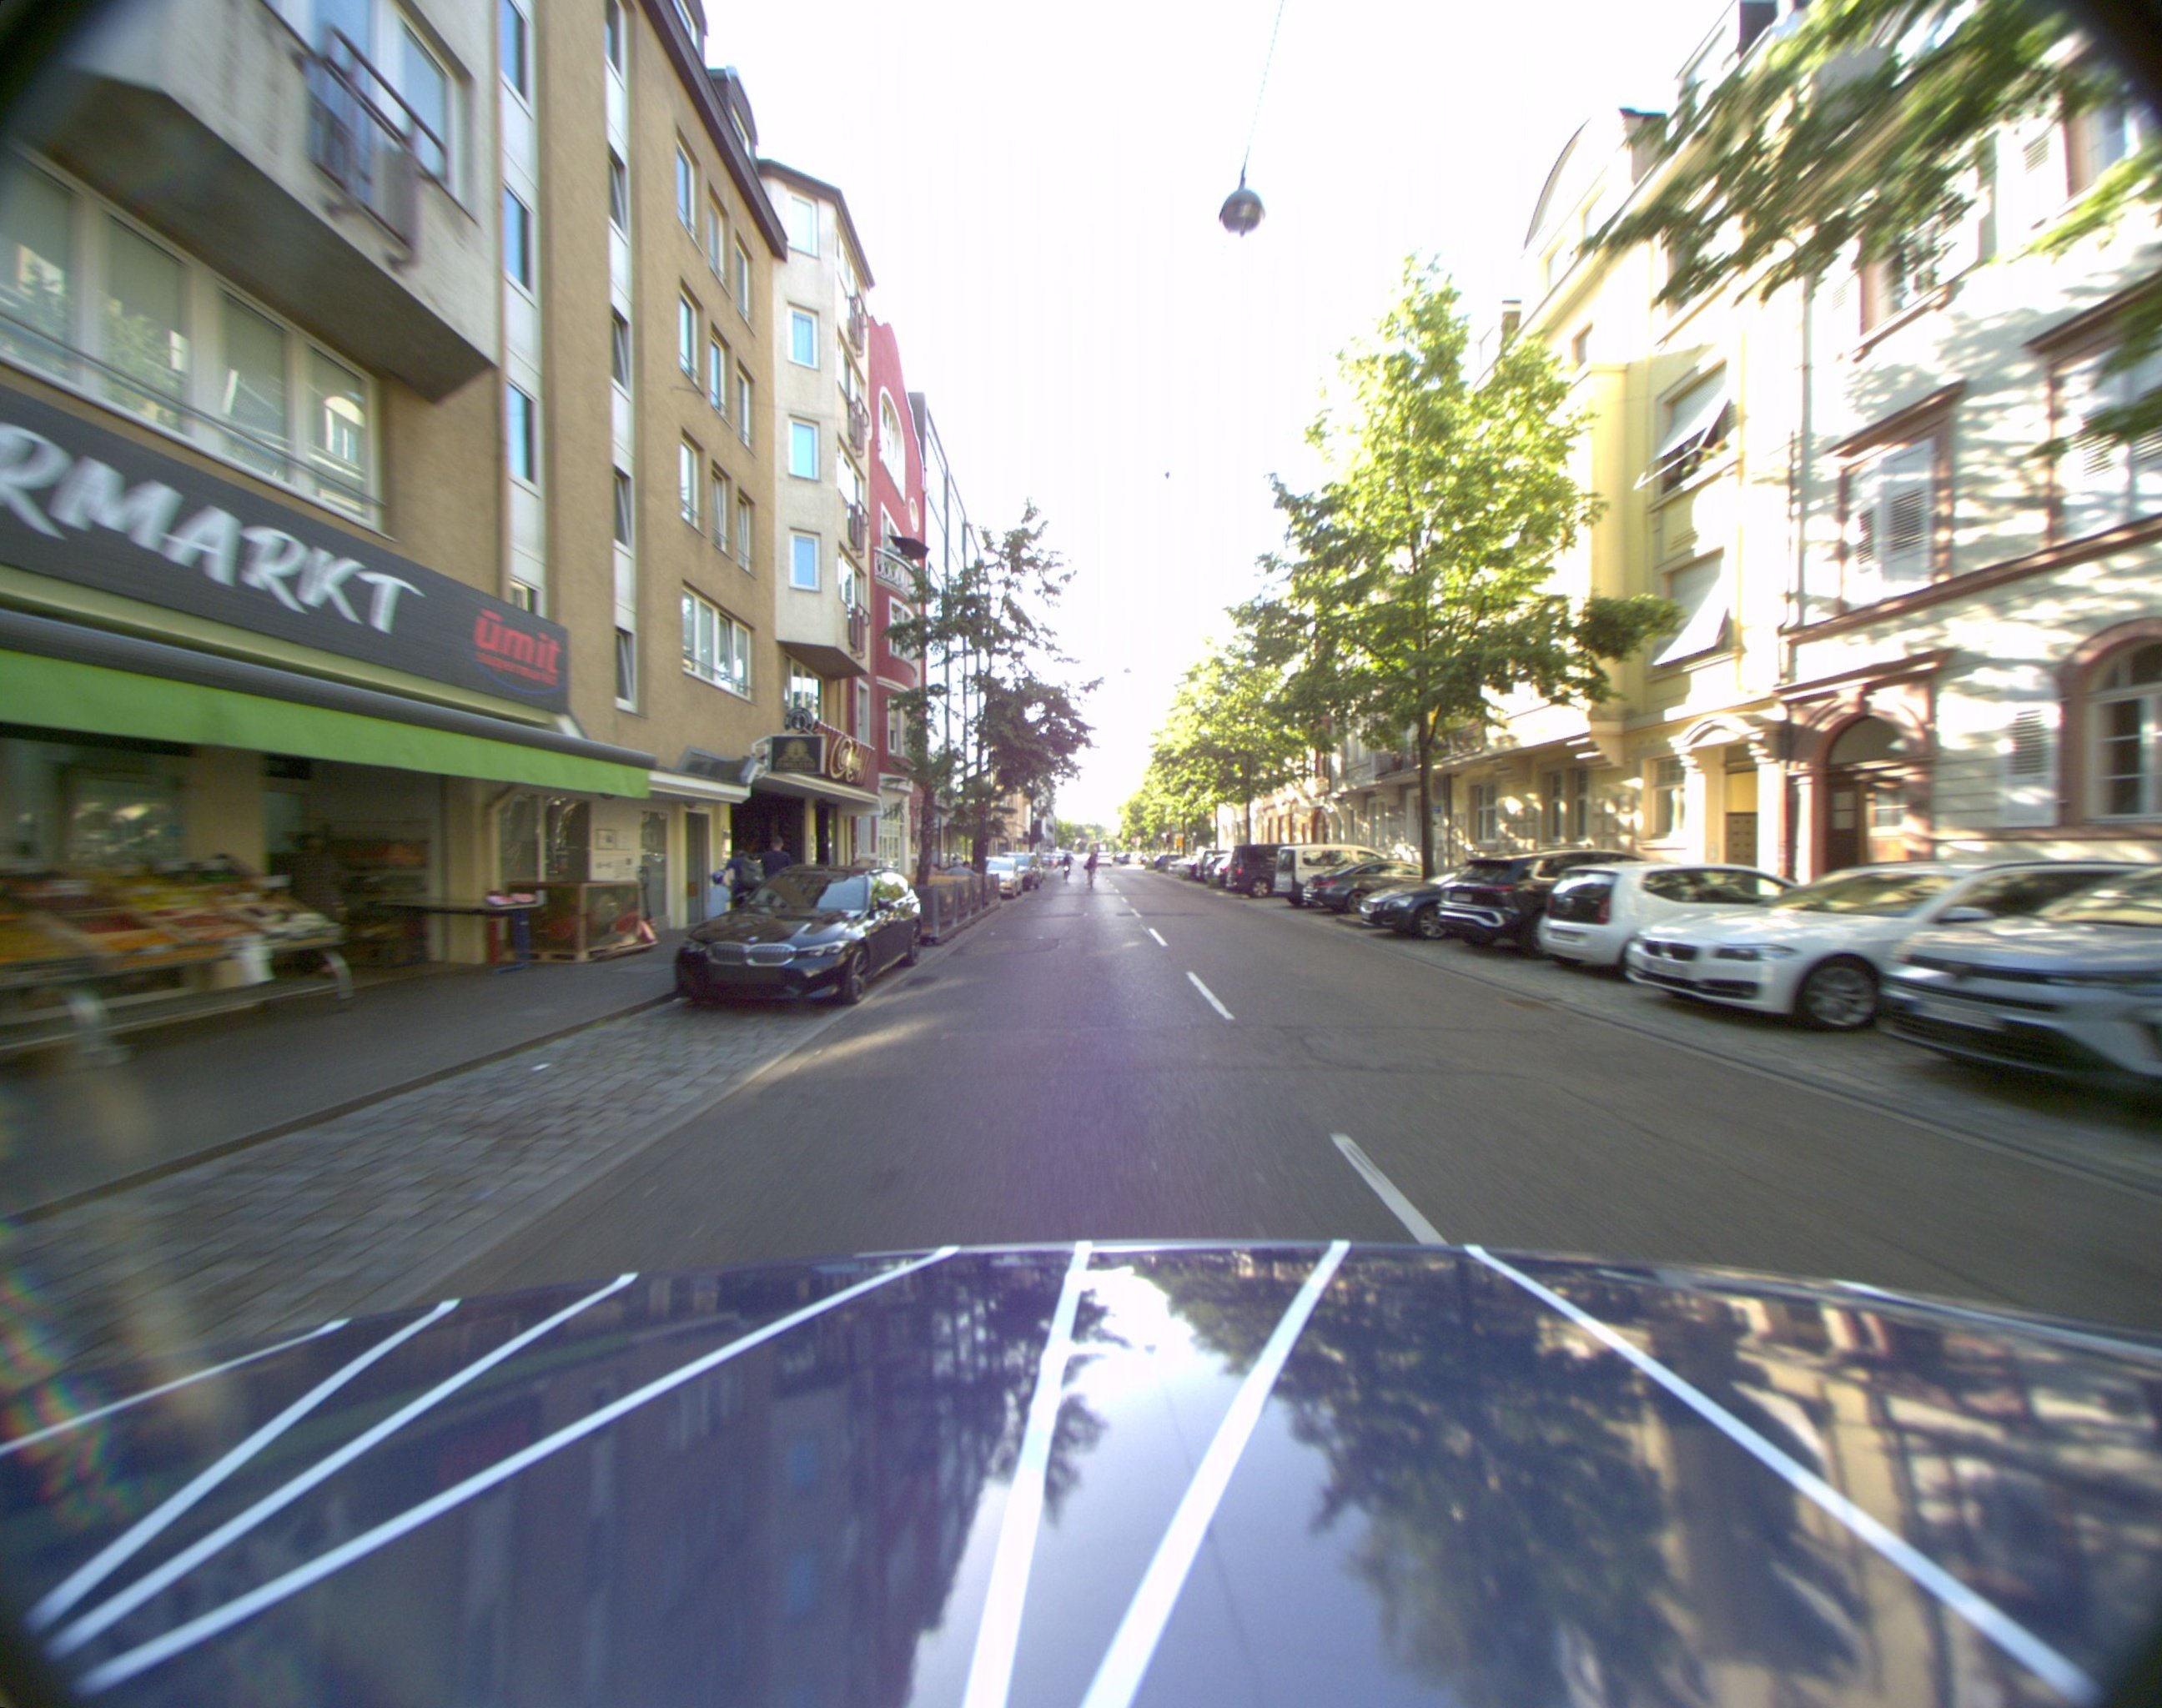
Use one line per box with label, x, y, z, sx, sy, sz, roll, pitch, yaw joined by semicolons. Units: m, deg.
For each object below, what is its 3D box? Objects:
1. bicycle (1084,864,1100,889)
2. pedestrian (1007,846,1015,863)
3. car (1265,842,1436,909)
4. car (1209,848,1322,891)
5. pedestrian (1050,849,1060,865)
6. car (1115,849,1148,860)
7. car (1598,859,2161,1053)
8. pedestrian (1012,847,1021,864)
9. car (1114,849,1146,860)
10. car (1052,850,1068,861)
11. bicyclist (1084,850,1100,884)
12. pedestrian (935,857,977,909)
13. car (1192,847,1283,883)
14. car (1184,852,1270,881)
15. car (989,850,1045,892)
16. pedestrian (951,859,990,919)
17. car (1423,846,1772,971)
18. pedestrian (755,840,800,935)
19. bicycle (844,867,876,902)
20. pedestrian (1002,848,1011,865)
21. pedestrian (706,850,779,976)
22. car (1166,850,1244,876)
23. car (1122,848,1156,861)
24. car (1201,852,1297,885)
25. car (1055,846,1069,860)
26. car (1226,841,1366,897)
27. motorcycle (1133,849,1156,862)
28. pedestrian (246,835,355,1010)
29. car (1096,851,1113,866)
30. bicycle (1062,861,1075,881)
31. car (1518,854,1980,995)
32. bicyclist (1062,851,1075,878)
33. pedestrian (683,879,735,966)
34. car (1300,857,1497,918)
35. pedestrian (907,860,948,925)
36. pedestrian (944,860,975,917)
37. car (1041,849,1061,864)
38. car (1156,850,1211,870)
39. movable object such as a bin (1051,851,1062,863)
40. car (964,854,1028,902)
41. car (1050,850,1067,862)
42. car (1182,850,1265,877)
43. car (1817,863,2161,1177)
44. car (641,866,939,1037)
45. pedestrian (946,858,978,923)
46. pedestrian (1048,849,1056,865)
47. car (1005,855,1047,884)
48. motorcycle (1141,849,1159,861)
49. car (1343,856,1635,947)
bicycle;0.513;1.052;36.428;0.718;1.105;2.269;-1;1;-1
pedestrian;-7.315;0.064;79.249;0.498;1.683;0.717;0;2;28
car;7.918;0.597;22.523;4.353;1.823;1.915;-1;1;-7
car;7.911;0.647;32.848;4.351;1.723;1.916;-1;1;-1
pedestrian;-2.758;0.332;79.754;0.693;1.709;0.896;2;1;25
car;6.878;0.089;103.657;4.006;1.433;1.995;-1;1;-31
car;7.888;0.866;7.360;4.477;1.532;1.916;-1;1;0
pedestrian;-6.573;0.140;77.451;0.617;1.682;0.677;3;4;44
car;6.936;0.076;106.805;4.005;1.465;1.996;-1;1;-25
car;-2.843;0.211;105.126;1.998;1.483;4.000;2;1;1
bicyclist;0.505;0.613;36.397;0.718;1.553;0.864;-1;1;-1
pedestrian;-3.720;0.851;22.725;1.058;1.527;0.892;0;1;5
car;8.289;0.561;40.441;4.352;1.814;1.929;-1;1;-5
car;8.204;0.686;42.840;4.354;1.535;1.962;-1;1;-9
car;-2.902;0.715;35.492;1.826;1.767;4.932;2;0;4
pedestrian;-2.863;0.888;19.754;0.750;1.527;0.808;0;1;15
car;7.967;0.758;11.942;4.353;1.699;1.915;-1;1;-7
pedestrian;-5.527;0.594;13.843;0.632;1.686;0.502;-1;1;-42
bicycle;-6.811;0.931;23.475;0.475;0.996;1.701;0;1;0
pedestrian;-7.654;0.231;78.219;0.618;1.683;0.717;0;2;28
pedestrian;-4.691;0.786;10.567;0.618;1.686;0.762;0;1;5
car;8.091;0.596;49.863;4.713;1.484;1.999;-2;2;-4
car;7.767;0.041;101.433;4.006;1.553;1.995;-1;1;-31
car;8.317;0.706;37.835;4.351;1.535;1.916;-1;1;-2
car;-2.861;-0.148;114.482;1.999;1.942;5.099;2;1;-1
car;7.744;0.530;27.666;4.584;1.915;1.930;-1;1;3
motorcycle;7.216;0.188;85.985;2.316;1.415;1.002;-1;1;28
pedestrian;-7.755;0.639;7.553;0.760;1.632;0.620;1;1;35
car;2.784;0.492;88.978;1.915;1.536;4.353;-3;1;2
bicycle;-0.716;0.967;44.184;0.666;1.061;1.836;-1;1;1
car;8.323;0.822;9.786;4.350;1.573;1.809;-1;1;0
bicyclist;-0.727;0.606;44.212;0.658;1.562;0.909;-1;1;1
pedestrian;-5.205;0.944;10.637;0.444;1.156;0.501;0;1;6
car;7.993;0.828;19.504;4.347;1.430;1.918;-1;1;10
pedestrian;-3.730;0.923;18.493;0.712;1.527;0.770;0;1;15
pedestrian;-3.333;0.923;20.878;0.694;1.527;0.776;0;1;2
car;-3.313;0.300;83.982;1.978;1.565;4.126;2;1;1
car;8.424;0.469;62.705;4.349;1.535;1.944;-1;1;3
movable object such as a bin;-3.036;0.372;94.363;1.147;1.413;1.411;3;1;4
car;-3.160;0.859;29.133;1.826;1.587;4.841;2;0;1
car;-2.976;0.227;100.991;1.998;1.565;4.000;2;1;1
car;8.888;0.568;47.529;4.713;1.483;1.999;-2;0;-4
car;7.757;0.844;4.649;4.476;1.532;1.917;-1;1;5
car;-3.243;0.972;9.709;1.826;1.463;4.911;2;0;1
pedestrian;-2.881;0.867;18.455;0.652;1.527;0.980;0;1;-1
pedestrian;-3.069;0.315;80.371;0.699;1.709;0.693;1;1;-22
car;-2.980;0.822;41.925;1.826;1.394;4.842;2;0;1
motorcycle;7.884;0.131;86.791;1.750;1.415;0.831;-1;1;27
car;7.515;0.840;14.363;4.476;1.532;1.917;-1;1;3
